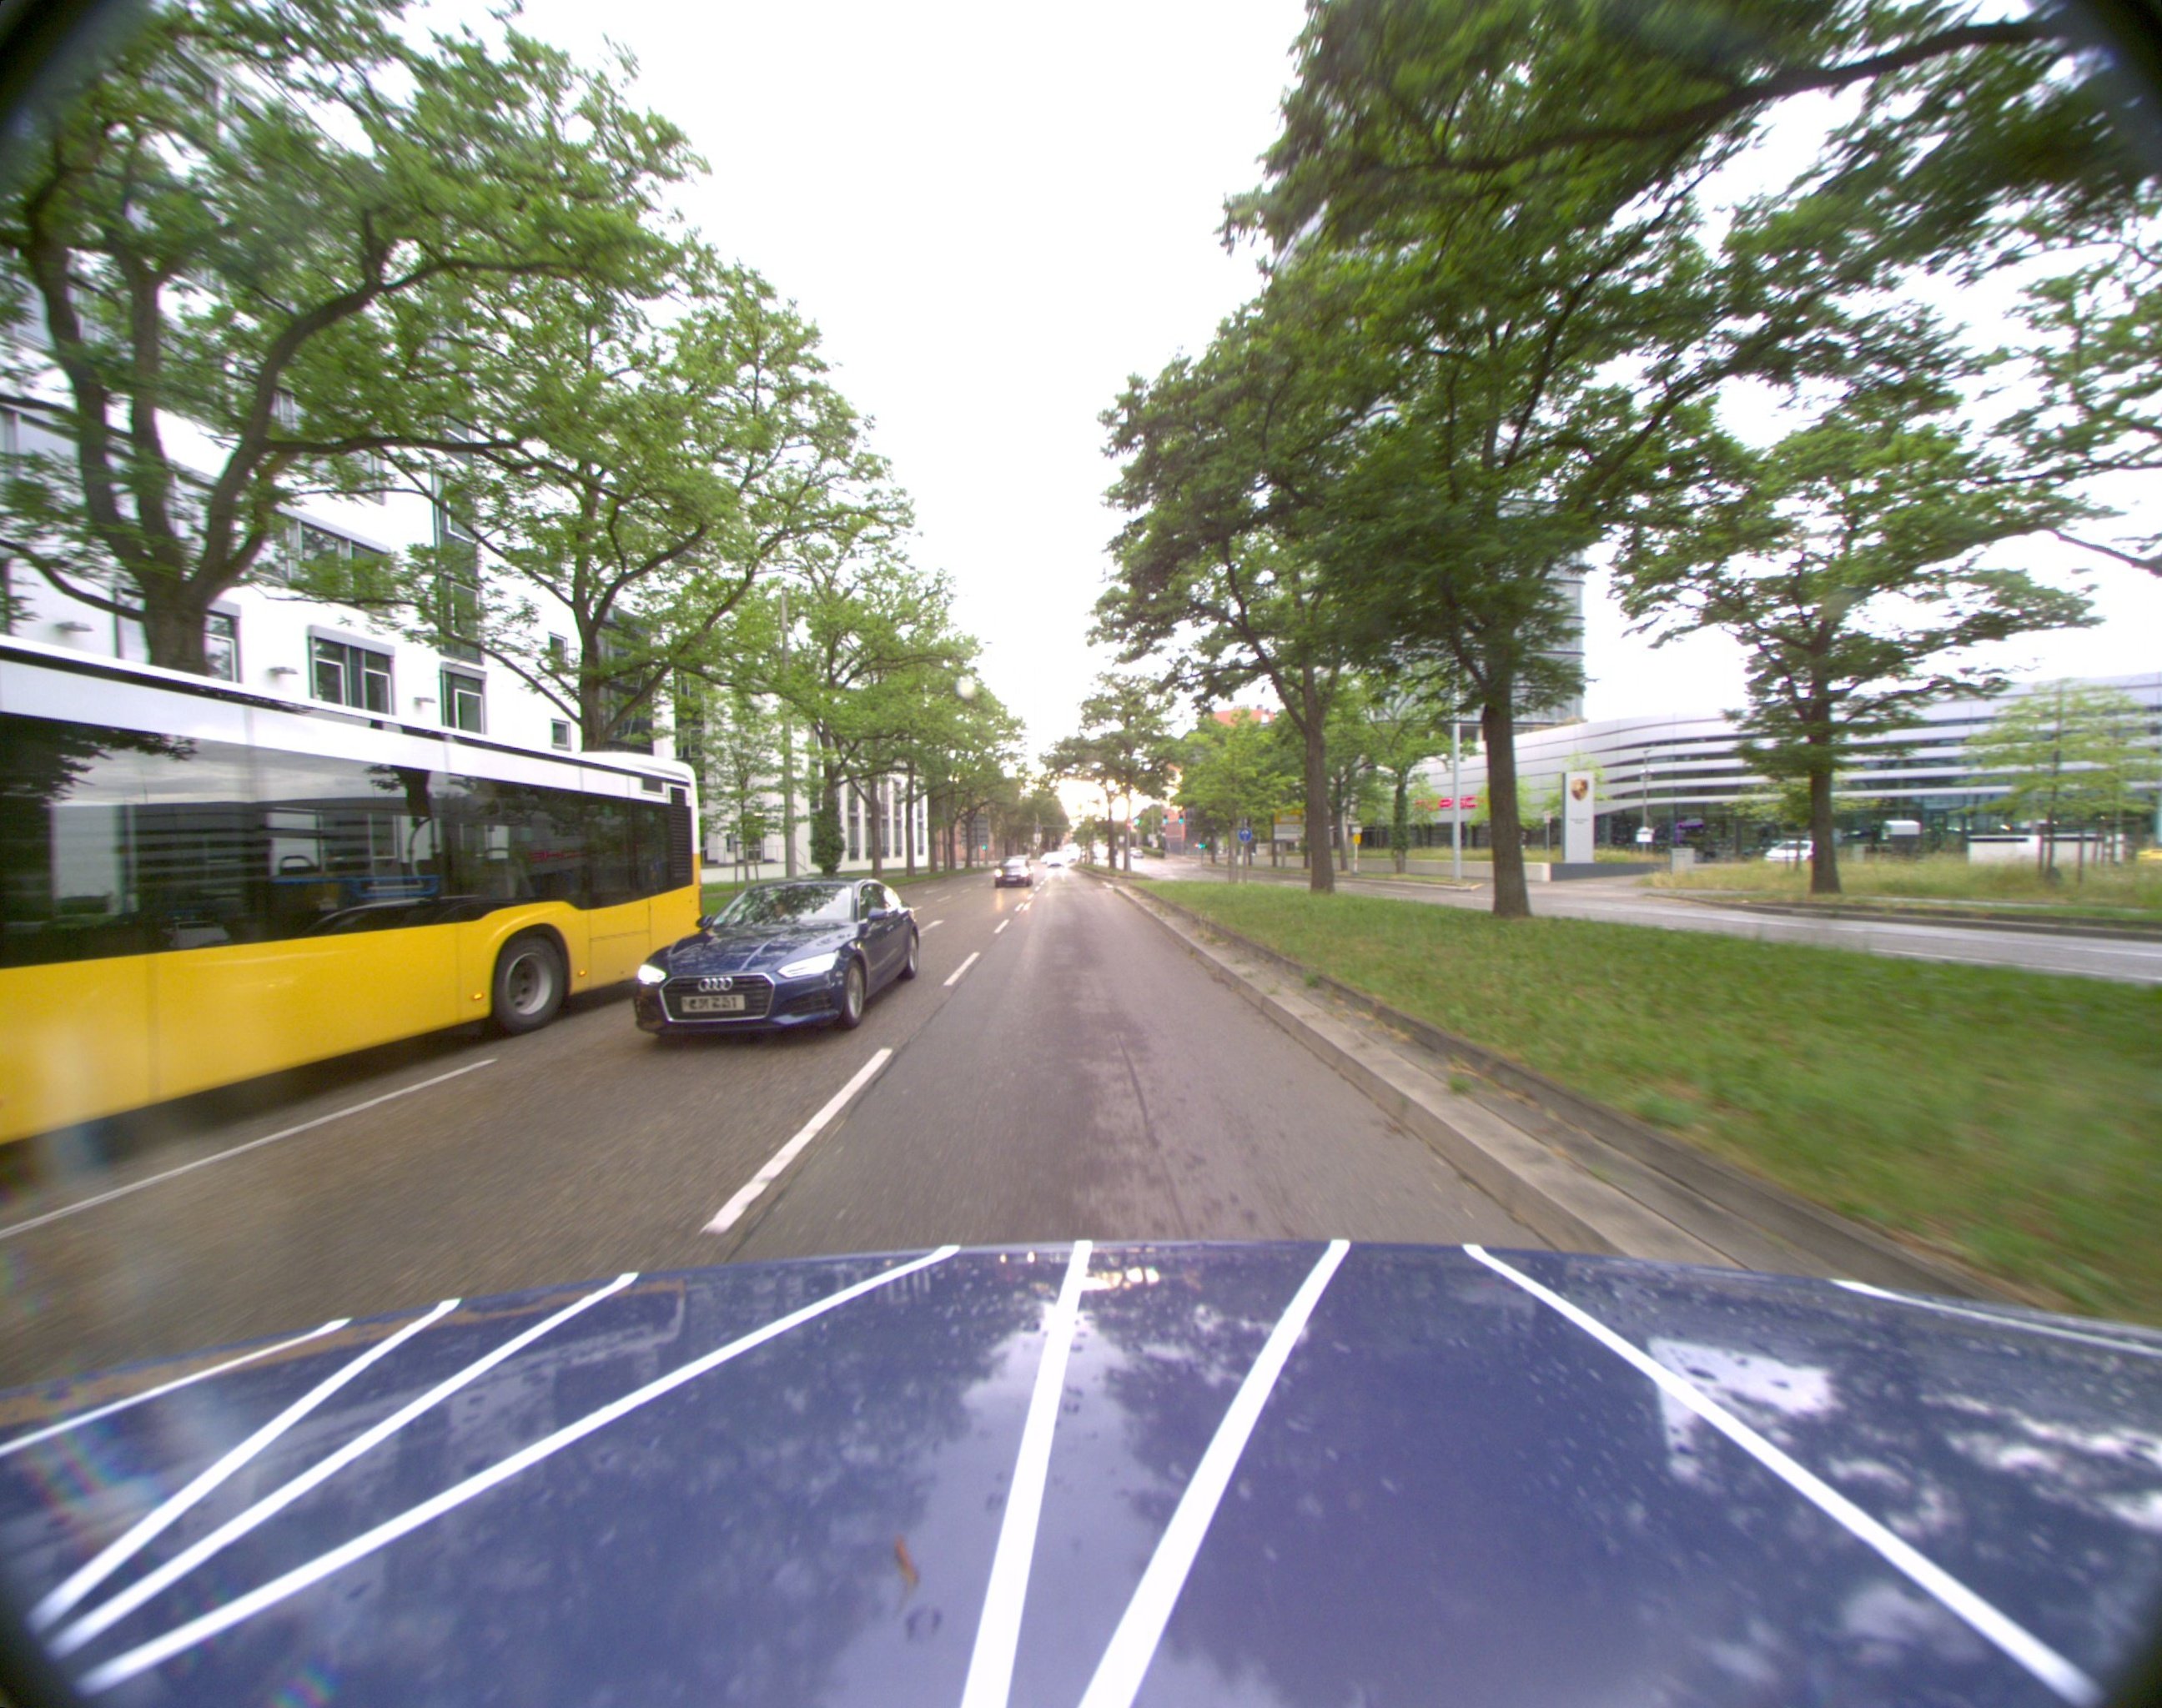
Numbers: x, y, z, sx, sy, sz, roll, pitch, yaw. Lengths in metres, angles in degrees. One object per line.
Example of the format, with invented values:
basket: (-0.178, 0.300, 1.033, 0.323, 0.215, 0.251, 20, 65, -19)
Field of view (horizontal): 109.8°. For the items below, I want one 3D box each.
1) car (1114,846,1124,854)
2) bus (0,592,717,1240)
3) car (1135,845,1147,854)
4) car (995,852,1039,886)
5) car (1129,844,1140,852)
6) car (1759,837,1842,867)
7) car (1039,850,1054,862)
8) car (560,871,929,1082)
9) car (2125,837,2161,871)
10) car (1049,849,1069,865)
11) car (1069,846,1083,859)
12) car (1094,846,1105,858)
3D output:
car: (8.241, -0.889, 164.130, 1.846, 1.581, 4.172, 0, 1, -2)
bus: (-6.594, 0.343, 4.572, 2.734, 3.133, 12.144, -3, 0, 0)
car: (11.287, -0.853, 143.187, 1.894, 1.445, 3.998, -3, 1, -2)
car: (-3.127, 0.714, 37.650, 1.625, 1.426, 3.551, -3, 1, 3)
car: (11.343, -1.286, 160.552, 1.783, 1.445, 3.998, -3, 1, -2)
car: (39.163, -0.135, 41.350, 4.004, 1.405, 1.775, -4, 2, -23)
car: (-5.060, 0.275, 111.016, 1.998, 1.576, 4.000, 0, 1, 1)
car: (-3.026, 0.996, 8.025, 1.878, 1.346, 4.331, -3, 1, 0)
car: (48.938, -0.034, 34.178, 4.004, 1.316, 1.617, -4, 2, -25)
car: (-2.352, 0.341, 83.716, 1.998, 1.707, 4.000, 0, 1, 1)
car: (-0.766, -0.220, 116.574, 1.931, 2.002, 4.000, -1, 1, 1)
car: (3.216, -0.313, 133.083, 1.998, 2.002, 4.000, -1, 1, 1)
